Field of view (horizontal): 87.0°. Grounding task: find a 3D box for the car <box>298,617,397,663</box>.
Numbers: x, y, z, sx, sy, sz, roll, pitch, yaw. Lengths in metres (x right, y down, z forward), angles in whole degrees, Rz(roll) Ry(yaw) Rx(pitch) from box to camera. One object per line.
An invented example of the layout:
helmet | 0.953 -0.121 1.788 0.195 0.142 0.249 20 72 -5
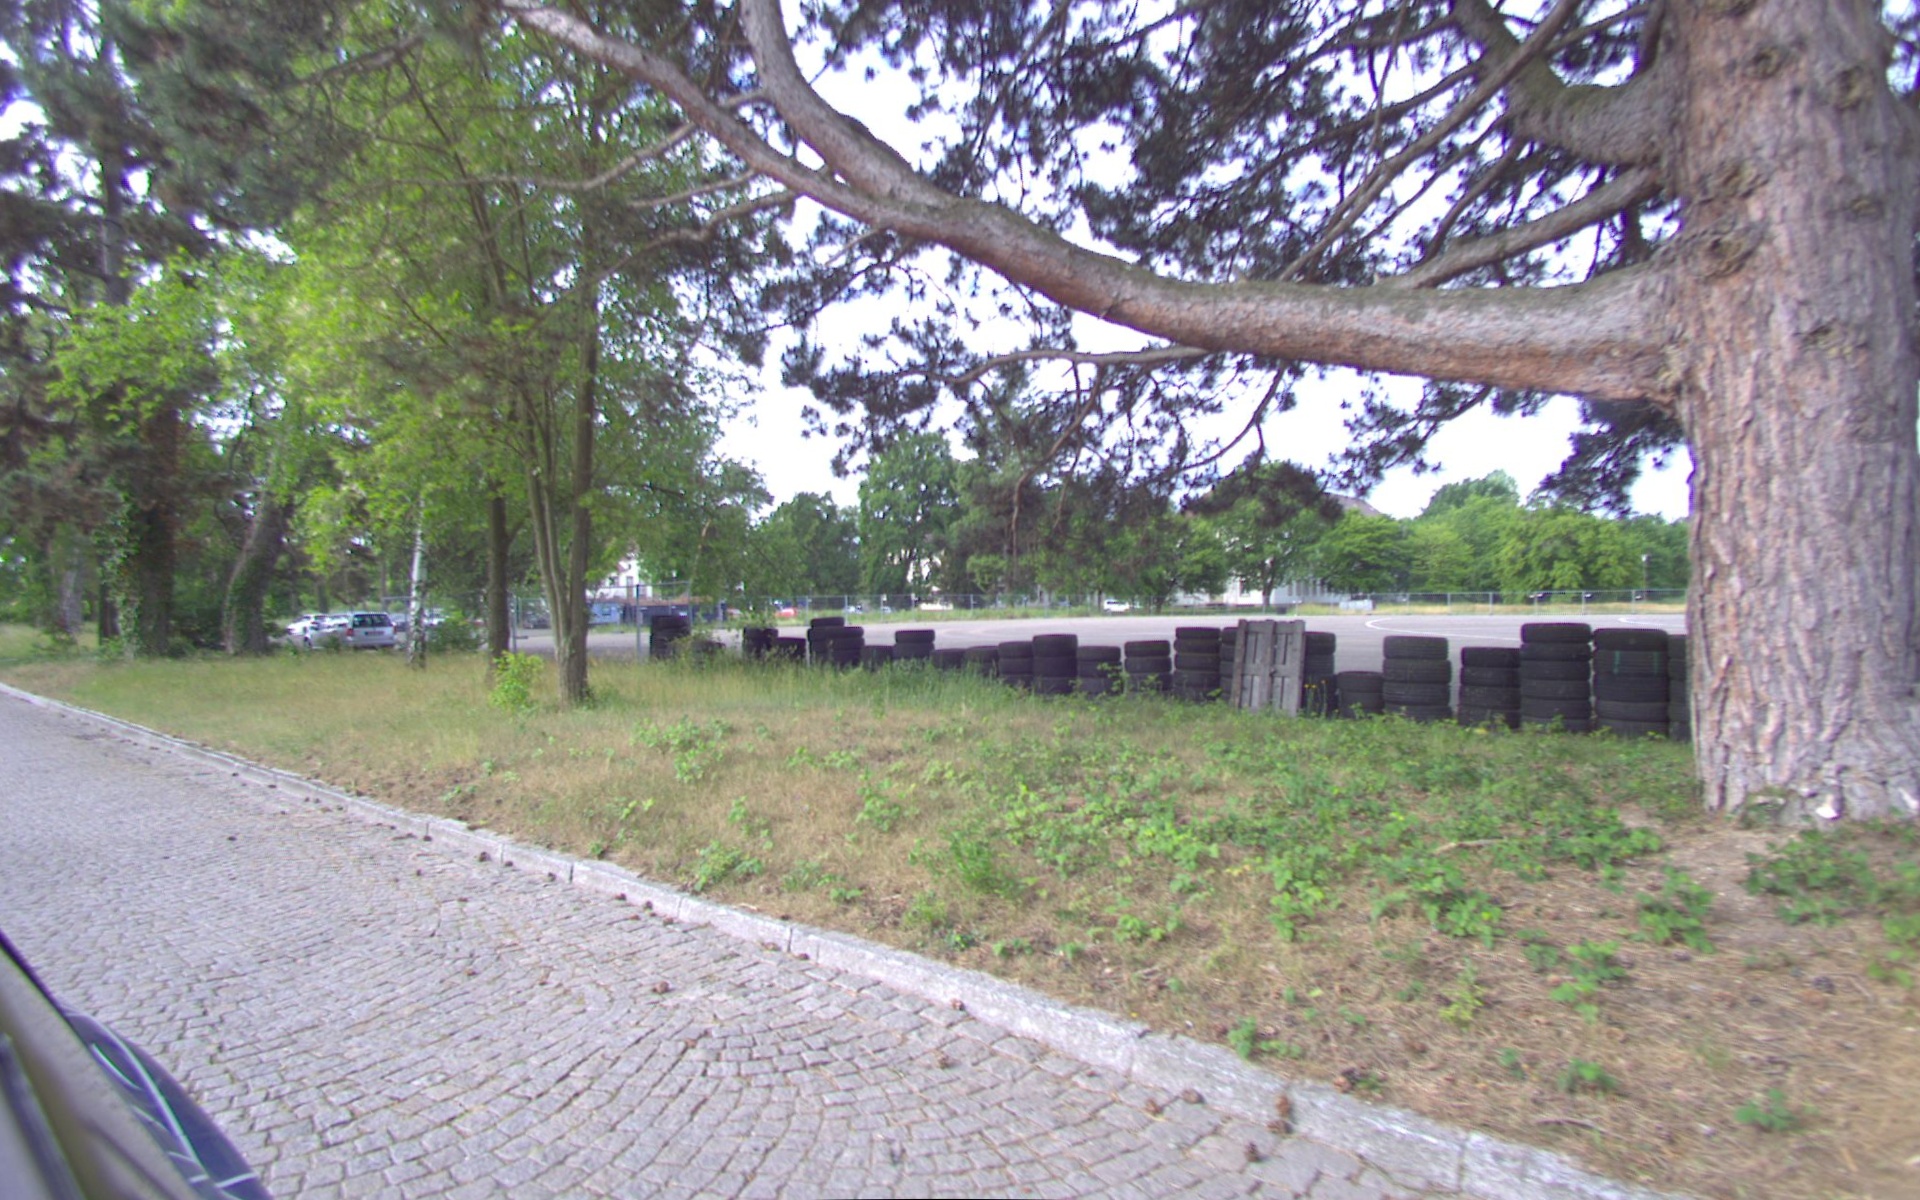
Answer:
car | -20.346 1.303 33.578 3.719 1.421 1.649 -2 -1 39

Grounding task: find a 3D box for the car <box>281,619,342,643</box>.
car | -42.185 2.008 65.840 4.446 1.460 1.975 -1 -1 38

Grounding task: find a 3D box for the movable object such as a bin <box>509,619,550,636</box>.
movable object such as a bin | -27.624 1.765 64.918 2.712 1.079 1.046 -1 -1 33

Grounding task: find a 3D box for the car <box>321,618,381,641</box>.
car | -40.943 1.981 68.041 4.446 1.460 1.975 -1 -1 38

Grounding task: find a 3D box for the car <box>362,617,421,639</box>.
car | -39.366 1.950 70.048 4.446 1.460 1.975 -1 -1 38

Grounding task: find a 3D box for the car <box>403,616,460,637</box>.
car | -37.921 1.919 72.564 4.446 1.460 1.975 -1 -1 38
